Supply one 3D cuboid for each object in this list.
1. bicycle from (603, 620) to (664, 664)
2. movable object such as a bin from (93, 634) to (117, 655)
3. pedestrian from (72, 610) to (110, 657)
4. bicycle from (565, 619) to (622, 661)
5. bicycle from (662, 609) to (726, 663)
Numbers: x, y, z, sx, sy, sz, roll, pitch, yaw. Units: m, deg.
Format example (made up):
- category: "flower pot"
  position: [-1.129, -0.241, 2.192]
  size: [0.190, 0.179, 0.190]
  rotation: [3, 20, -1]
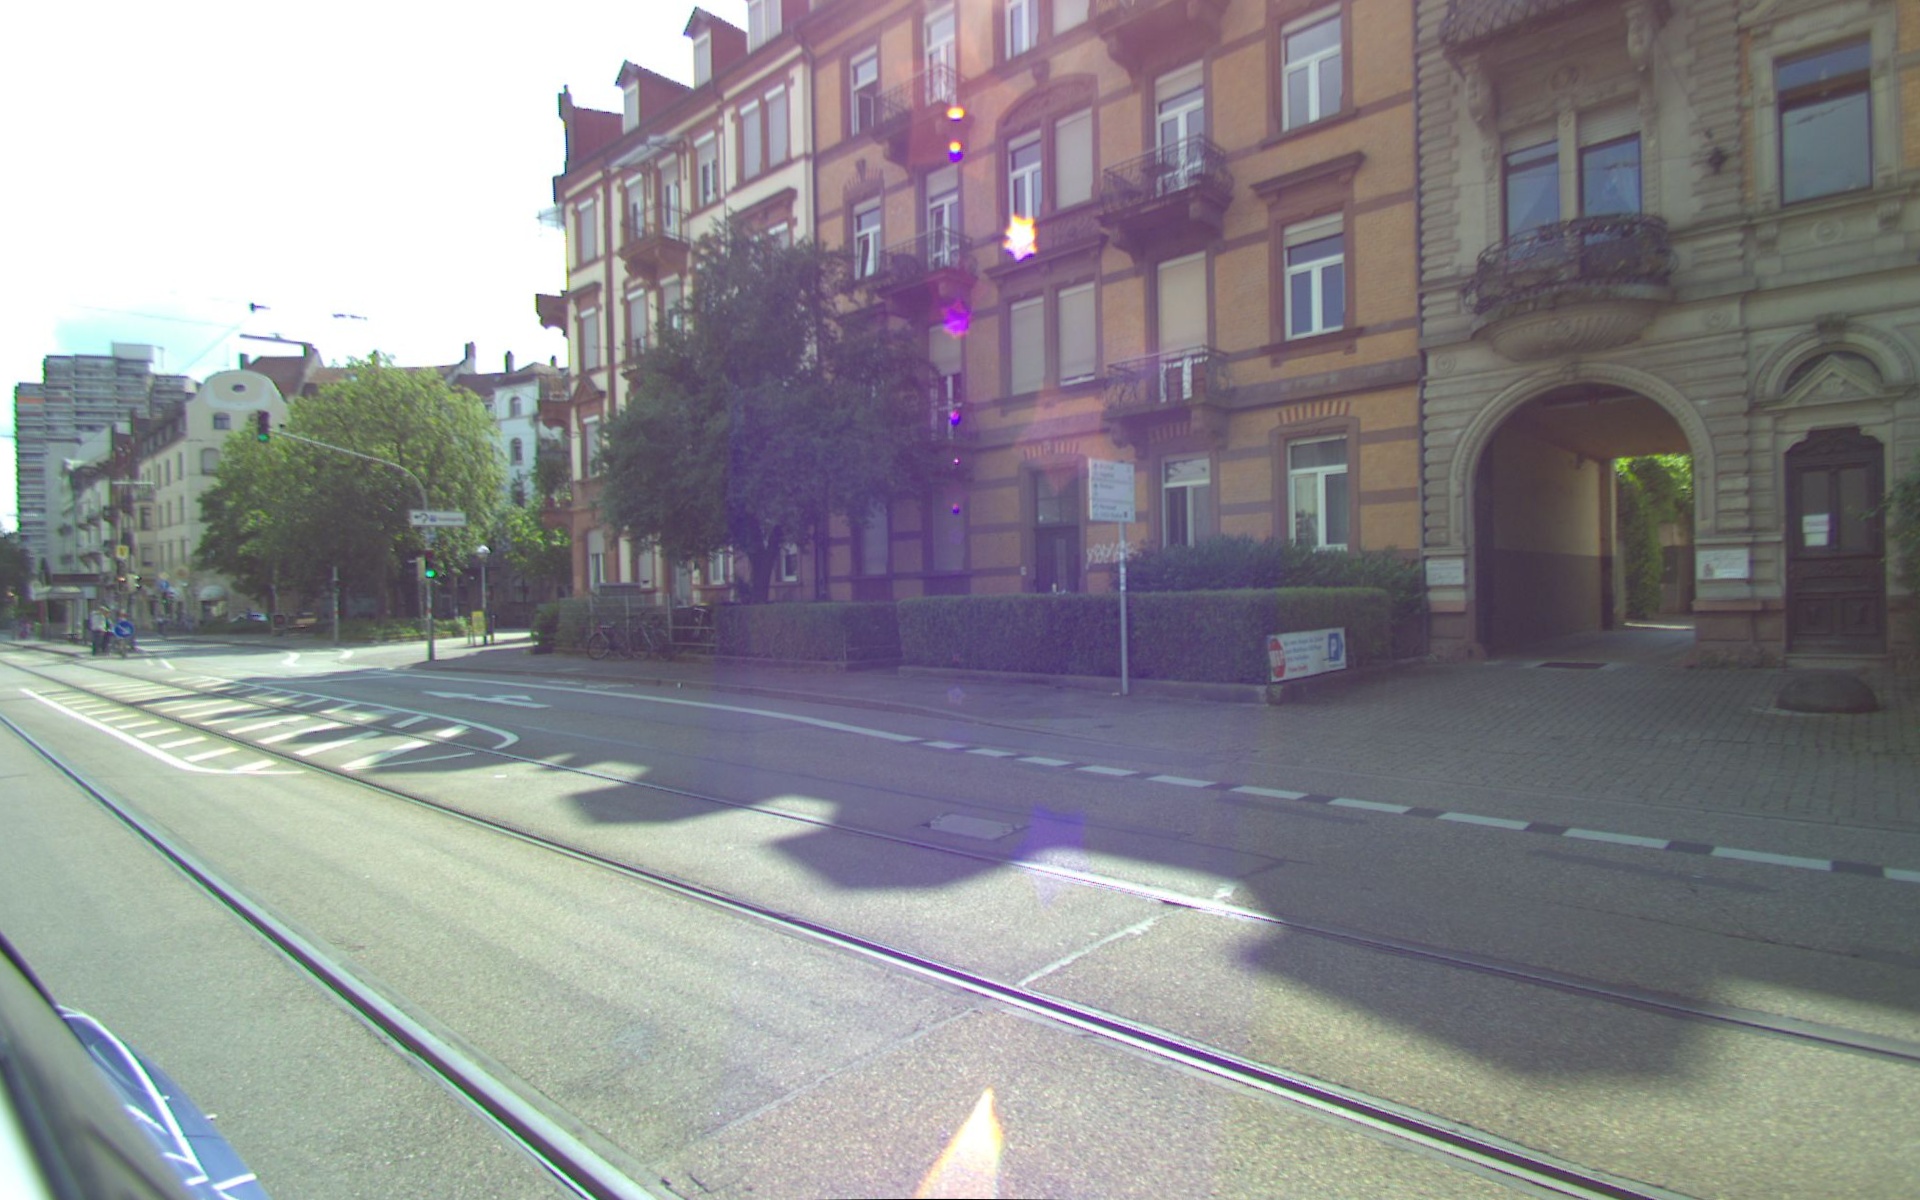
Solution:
- category: "bicycle"
  position: [-7.364, 0.927, 22.777]
  size: [0.552, 0.939, 1.827]
  rotation: [-1, 0, -44]
- category: "movable object such as a bin"
  position: [-30.232, 1.580, 35.770]
  size: [0.455, 0.723, 0.507]
  rotation: [-2, 0, 29]
- category: "pedestrian"
  position: [-29.996, 1.164, 34.923]
  size: [0.690, 1.586, 0.775]
  rotation: [-2, 0, 29]
- category: "bicycle"
  position: [-8.768, 0.946, 24.187]
  size: [0.552, 0.939, 1.827]
  rotation: [-1, 0, -44]
- category: "bicycle"
  position: [-5.914, 0.788, 22.522]
  size: [0.496, 1.139, 1.291]
  rotation: [-1, 0, 41]
